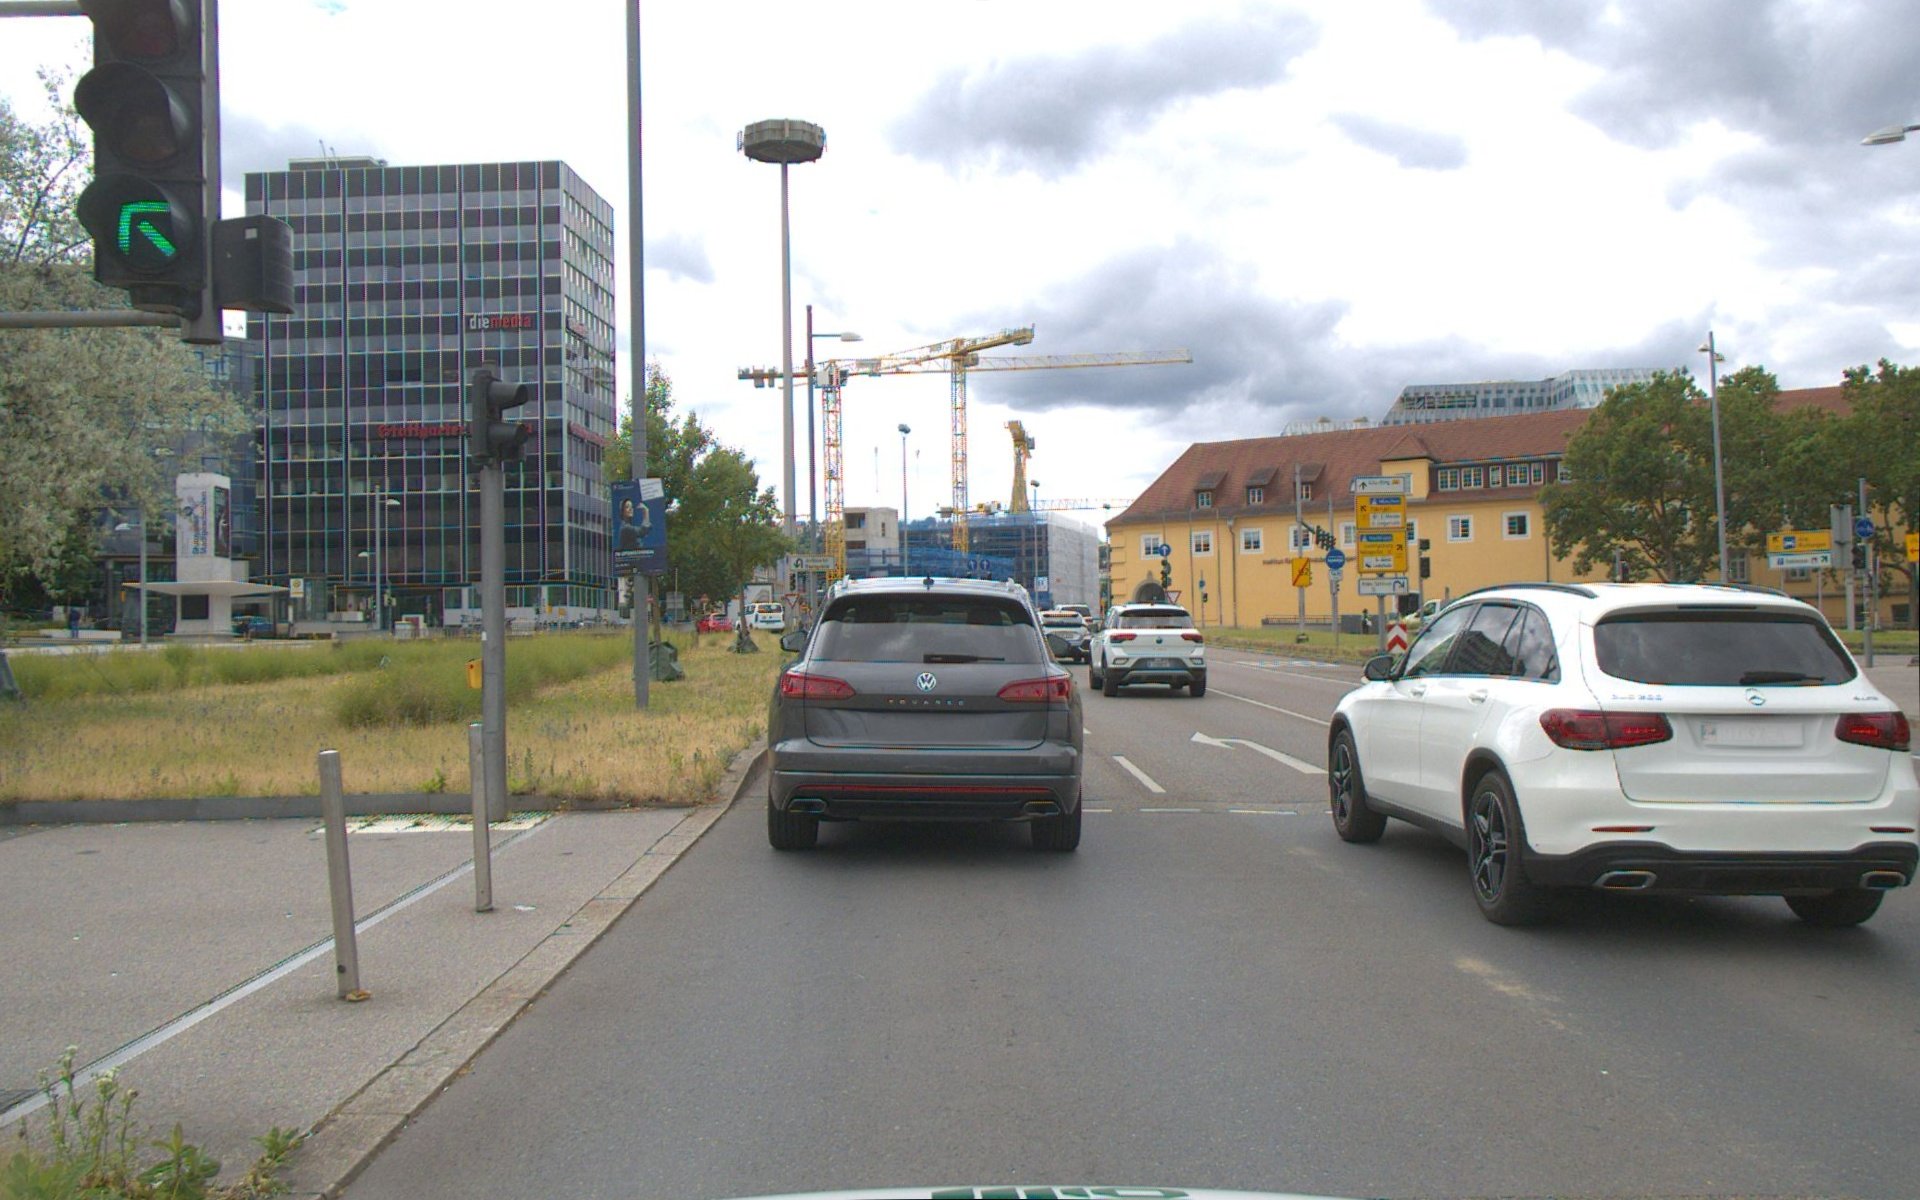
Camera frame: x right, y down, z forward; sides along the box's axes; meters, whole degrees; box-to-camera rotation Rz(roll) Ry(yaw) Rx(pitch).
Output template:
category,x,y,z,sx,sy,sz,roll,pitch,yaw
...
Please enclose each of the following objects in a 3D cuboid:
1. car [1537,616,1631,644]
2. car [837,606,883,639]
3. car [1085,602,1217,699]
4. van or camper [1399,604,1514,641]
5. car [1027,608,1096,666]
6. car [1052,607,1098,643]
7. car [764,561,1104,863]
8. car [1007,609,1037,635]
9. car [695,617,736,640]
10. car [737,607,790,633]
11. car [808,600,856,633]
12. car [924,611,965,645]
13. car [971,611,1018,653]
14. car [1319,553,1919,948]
category,x,y,z,sx,sy,sz,roll,pitch,yaw
car,33.883,1.637,89.842,4.592,1.445,1.593,-1,-1,31
car,-4.689,1.026,76.956,1.781,1.523,3.897,0,0,-9
car,3.307,0.843,29.330,1.855,1.613,3.800,0,0,-1
van or camper,28.101,1.295,93.703,5.902,2.049,2.012,-1,-1,35
car,2.777,0.990,45.890,1.683,1.529,4.143,0,0,0
car,5.061,1.074,73.119,1.766,1.529,3.981,0,0,0
car,-0.175,0.631,11.206,1.893,1.676,3.999,0,0,-1
car,3.661,1.296,97.956,1.683,1.529,3.981,0,0,0
car,-16.464,1.923,111.197,1.696,1.529,3.950,0,-1,-24
car,-11.990,1.198,100.631,2.212,1.529,4.583,0,0,-21
car,-7.704,0.974,99.458,1.867,1.638,3.977,-1,4,-21
car,-0.767,1.317,79.266,1.778,1.522,3.903,-1,0,-3
car,1.339,1.182,62.907,1.683,1.529,3.982,1,0,2
car,3.424,0.646,9.237,1.782,1.676,4.377,0,0,-2
